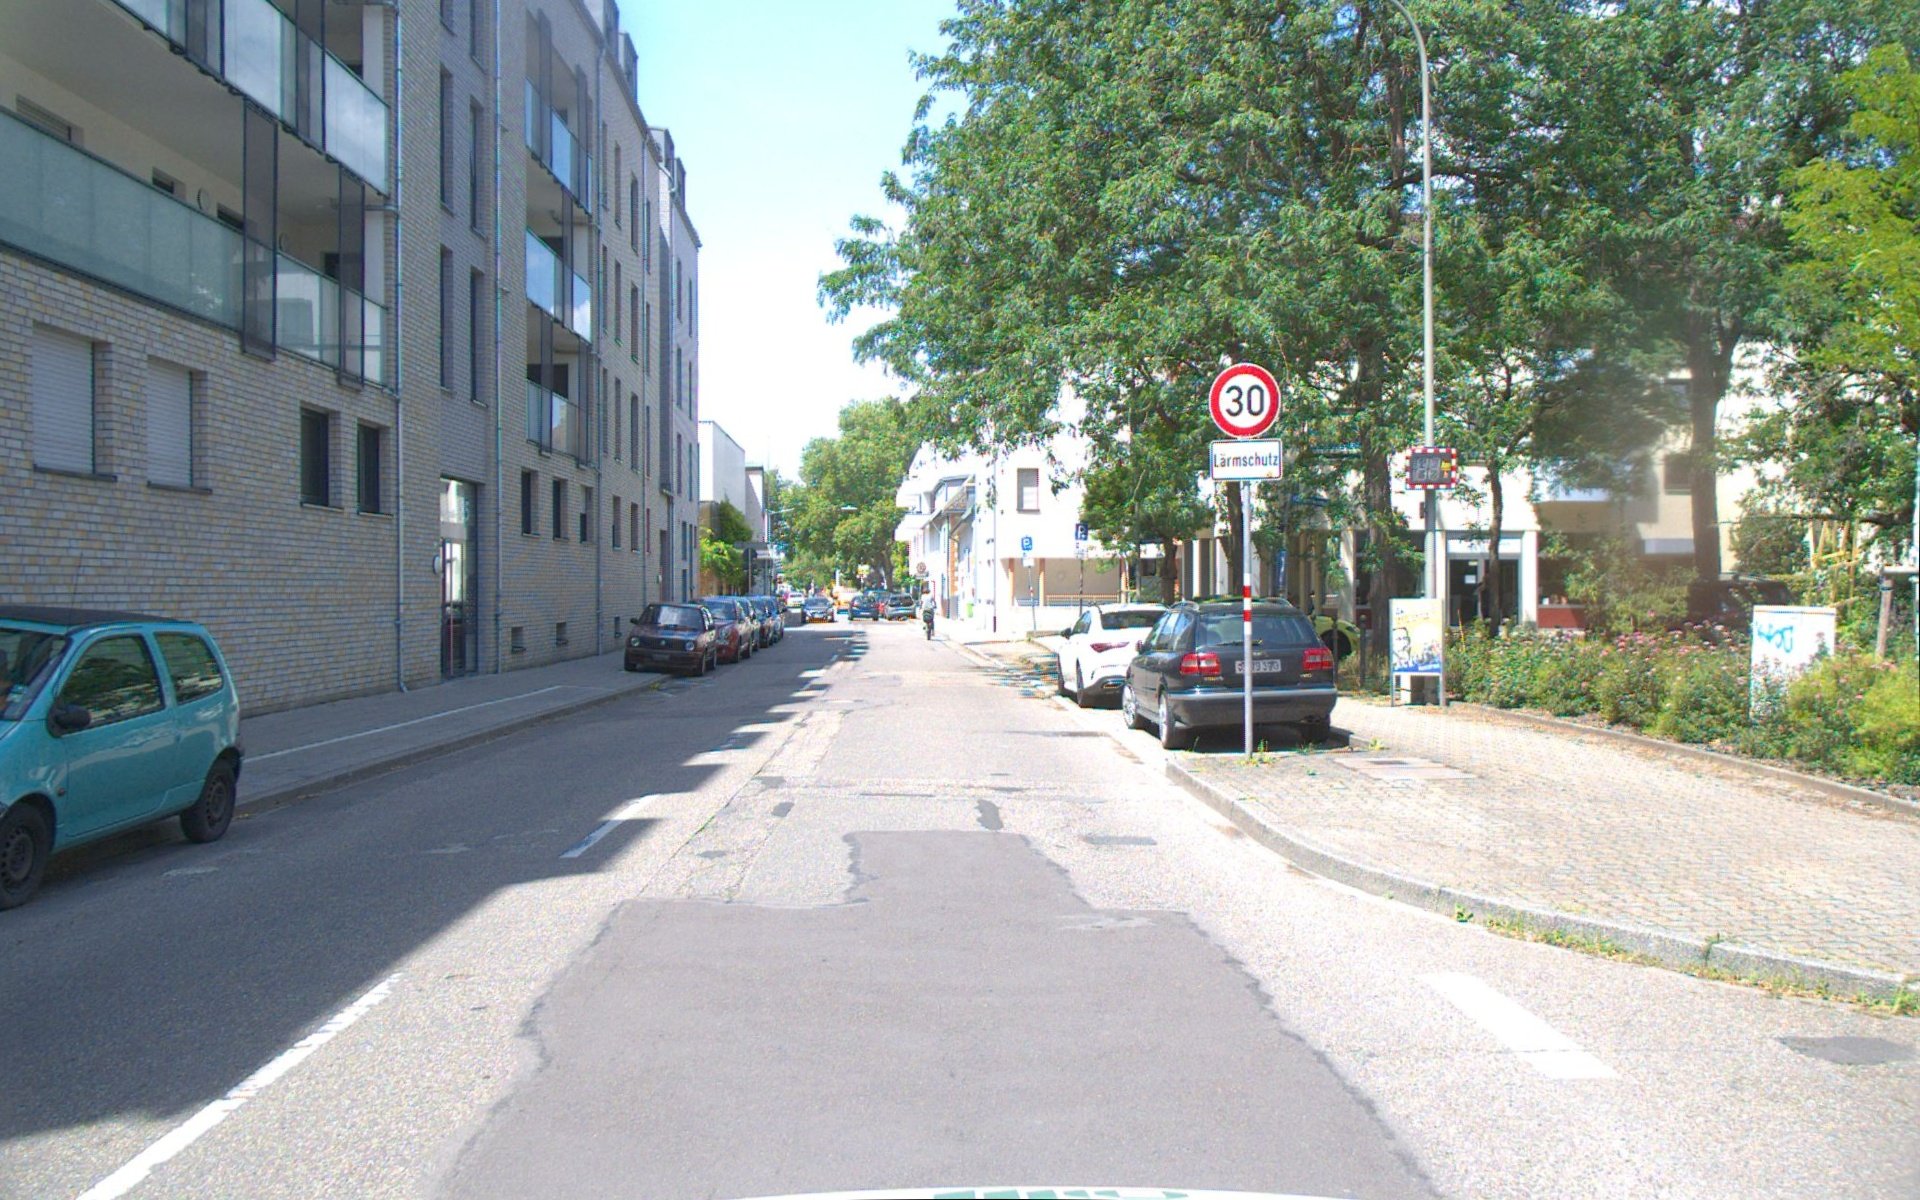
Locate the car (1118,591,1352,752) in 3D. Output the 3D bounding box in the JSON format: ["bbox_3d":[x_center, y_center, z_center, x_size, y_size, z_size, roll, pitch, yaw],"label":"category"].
[{"bbox_3d":[2.808,0.678,17.722,1.658,1.445,3.998,-3,0,-2],"label":"car"}]

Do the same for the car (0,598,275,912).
[{"bbox_3d":[-5.461,0.752,9.502,1.558,1.481,3.702,1,0,-2],"label":"car"}]

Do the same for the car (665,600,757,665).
[{"bbox_3d":[-5.911,0.738,39.616,1.697,1.467,3.999,0,0,-2],"label":"car"}]

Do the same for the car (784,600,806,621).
[{"bbox_3d":[-16.277,0.983,163.444,1.953,2.049,3.998,0,0,-2],"label":"car"}]

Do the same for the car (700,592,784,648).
[{"bbox_3d":[-6.031,0.528,46.160,1.789,1.445,3.999,2,0,-1],"label":"car"}]

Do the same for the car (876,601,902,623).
[{"bbox_3d":[-4.798,0.796,111.368,1.718,1.477,3.677,0,0,-2],"label":"car"}]

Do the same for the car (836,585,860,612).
[{"bbox_3d":[-8.558,-0.147,126.968,1.802,2.049,3.998,0,1,-3],"label":"car"}]

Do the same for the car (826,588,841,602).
[{"bbox_3d":[-18.060,-0.713,235.529,2.115,2.049,3.996,0,0,-5],"label":"car"}]

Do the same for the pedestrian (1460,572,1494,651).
[{"bbox_3d":[12.587,0.270,40.249,0.586,1.891,0.600,-1,0,40],"label":"pedestrian"}]

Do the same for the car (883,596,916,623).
[{"bbox_3d":[-3.668,0.563,100.065,1.954,1.646,3.998,0,0,-3],"label":"car"}]

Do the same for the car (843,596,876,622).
[{"bbox_3d":[-5.815,0.528,96.051,1.680,1.426,3.999,0,1,-1],"label":"car"}]

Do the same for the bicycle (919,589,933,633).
[{"bbox_3d":[-1.179,0.374,56.670,0.467,1.516,0.576,0,0,-2],"label":"bicycle"}]

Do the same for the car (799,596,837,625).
[{"bbox_3d":[-7.875,0.558,91.824,1.954,1.545,3.997,-1,0,-3],"label":"car"}]

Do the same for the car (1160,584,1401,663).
[{"bbox_3d":[6.332,0.452,32.924,4.295,1.405,1.997,2,0,-8],"label":"car"}]

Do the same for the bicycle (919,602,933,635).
[{"bbox_3d":[-1.173,0.623,56.692,0.473,1.134,1.195,0,0,-2],"label":"bicycle"}]

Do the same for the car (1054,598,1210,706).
[{"bbox_3d":[2.444,0.699,24.372,1.743,1.445,3.998,0,0,-2],"label":"car"}]

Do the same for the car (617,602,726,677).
[{"bbox_3d":[-5.991,0.779,34.717,1.697,1.467,3.999,0,0,-2],"label":"car"}]
